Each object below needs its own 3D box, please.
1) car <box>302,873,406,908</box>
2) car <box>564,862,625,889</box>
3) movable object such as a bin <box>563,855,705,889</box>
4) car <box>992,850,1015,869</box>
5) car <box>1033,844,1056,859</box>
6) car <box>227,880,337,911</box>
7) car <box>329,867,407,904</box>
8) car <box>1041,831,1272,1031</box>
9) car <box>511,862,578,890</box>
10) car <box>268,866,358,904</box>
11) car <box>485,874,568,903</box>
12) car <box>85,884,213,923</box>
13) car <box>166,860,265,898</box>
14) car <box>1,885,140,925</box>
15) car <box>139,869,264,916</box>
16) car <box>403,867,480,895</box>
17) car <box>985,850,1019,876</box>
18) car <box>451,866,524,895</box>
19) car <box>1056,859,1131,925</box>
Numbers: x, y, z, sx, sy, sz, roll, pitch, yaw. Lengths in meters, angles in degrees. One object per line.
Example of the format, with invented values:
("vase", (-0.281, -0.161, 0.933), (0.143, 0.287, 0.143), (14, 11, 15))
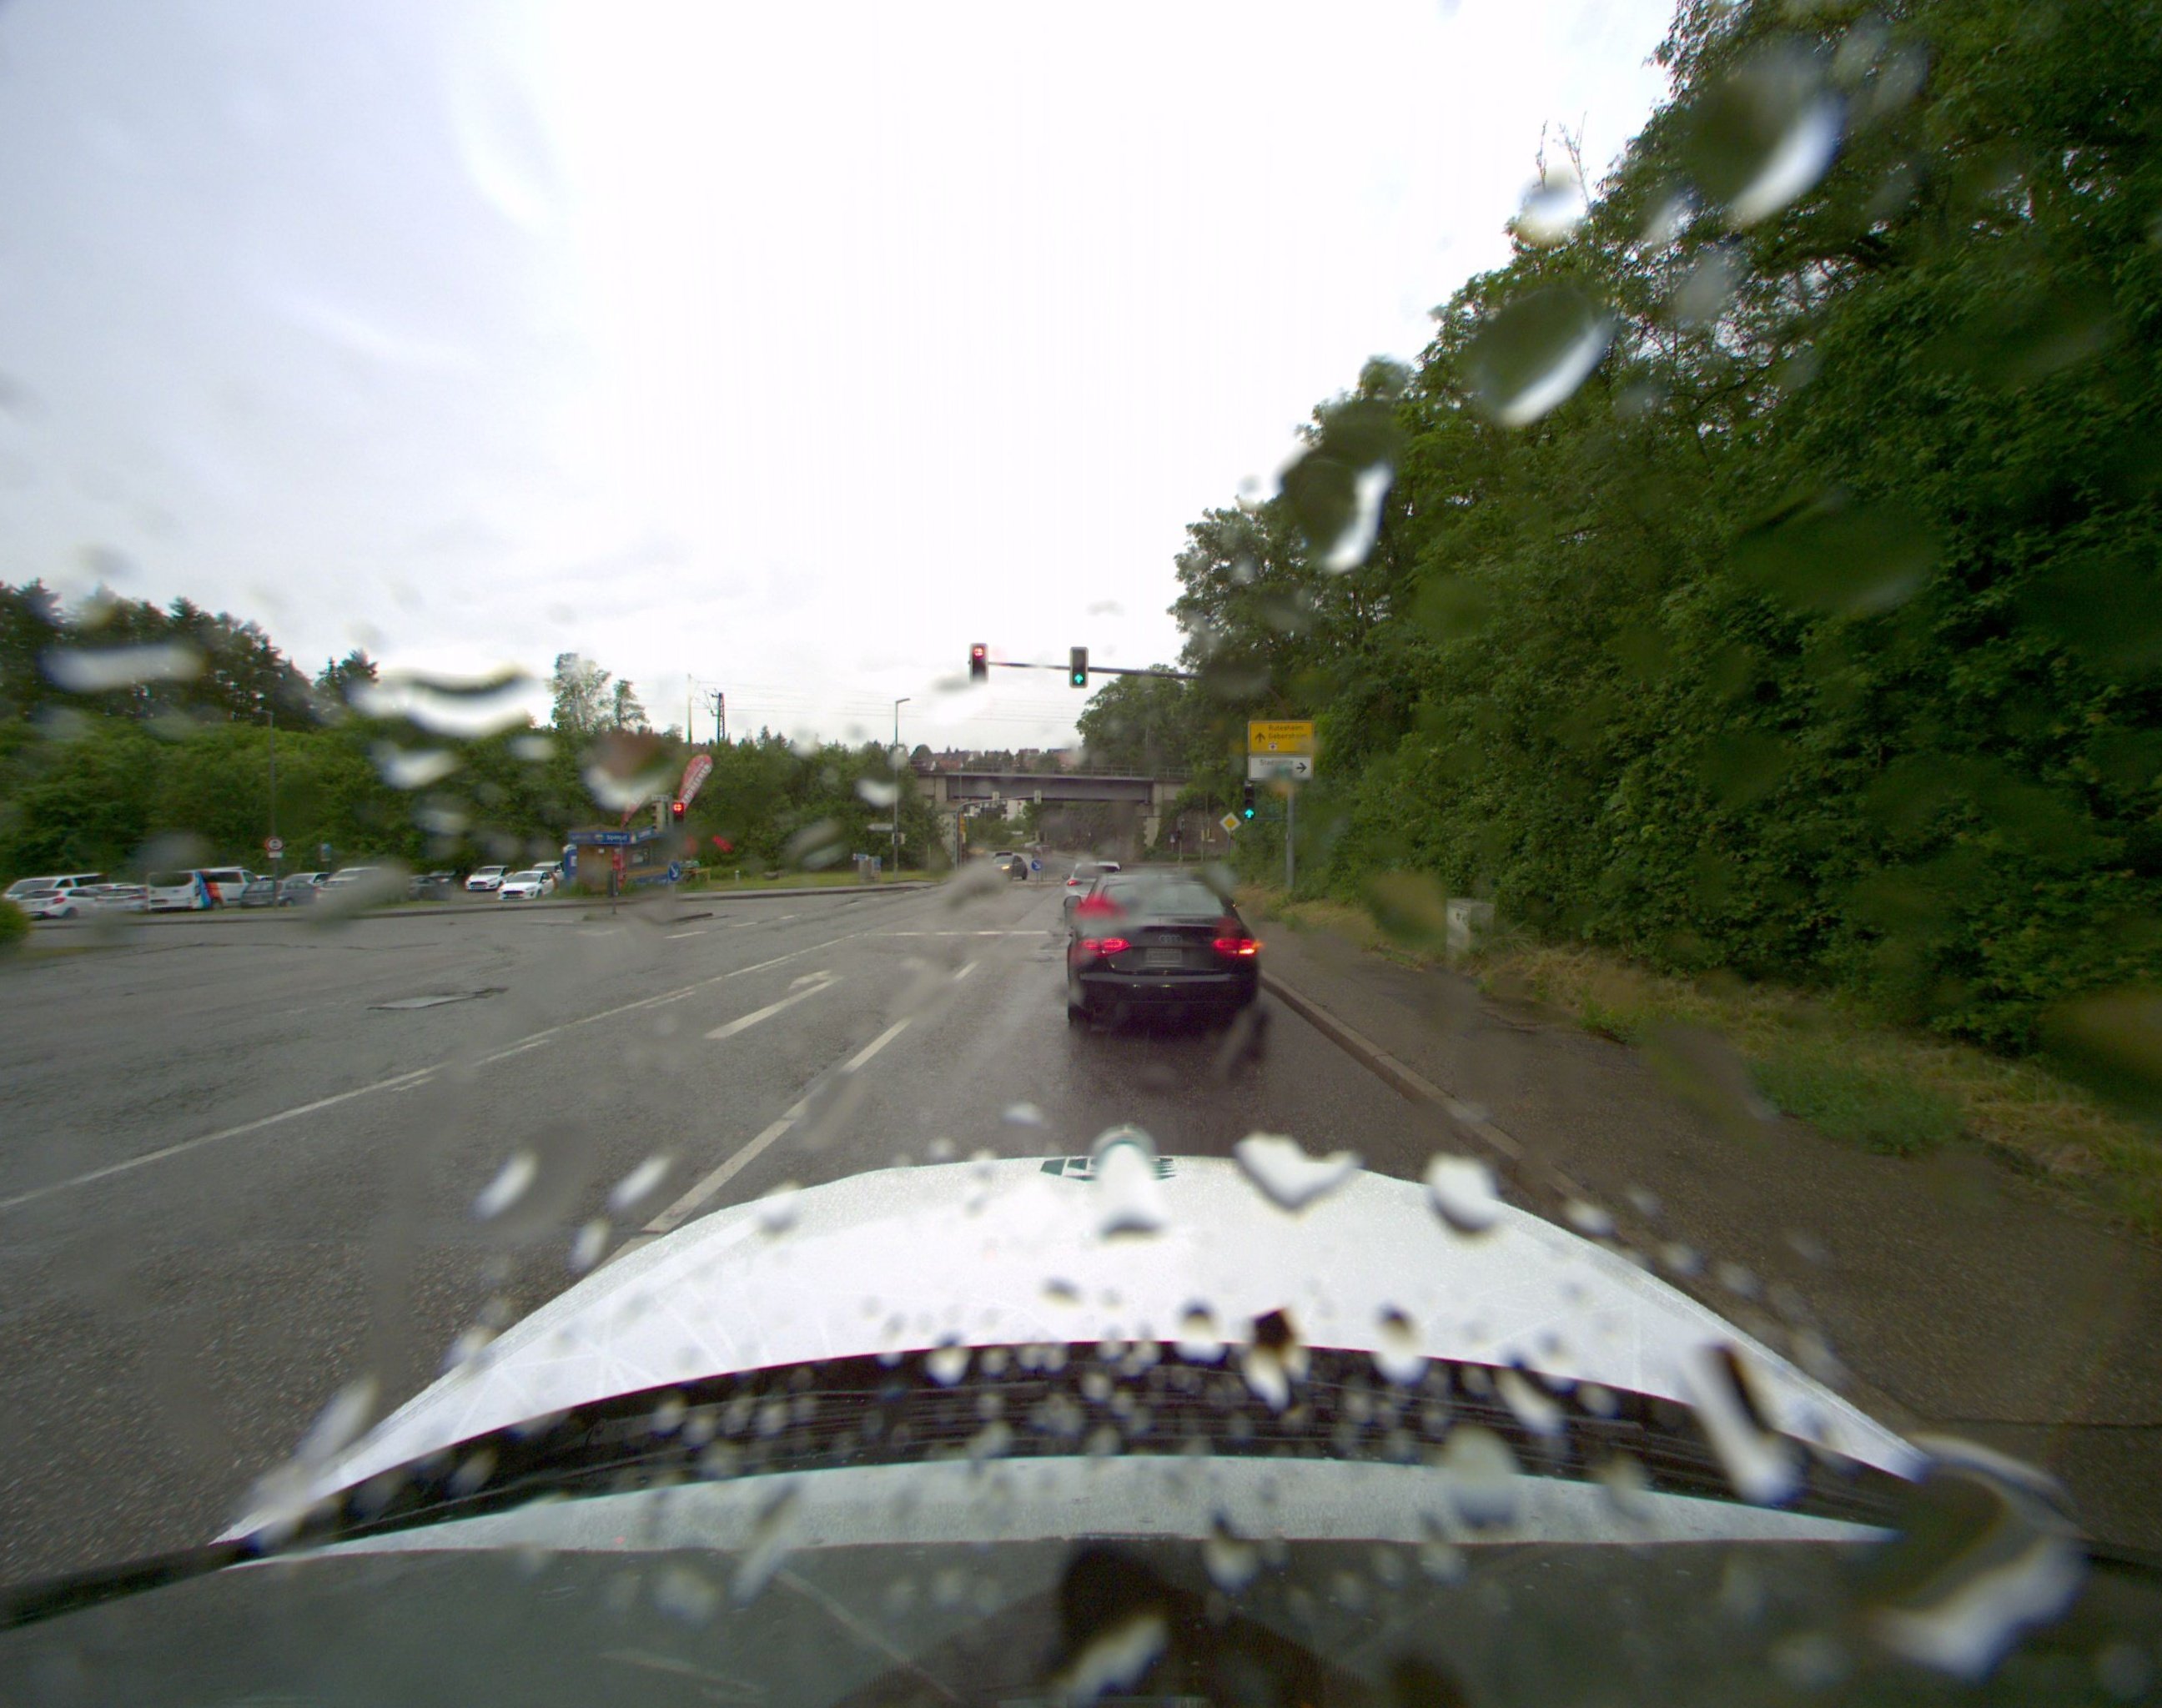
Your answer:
("car", (-34.653, 1.701, 38.979), (1.937, 1.585, 3.892), (0, -1, -11))
("car", (-30.399, 1.309, 51.056), (1.994, 1.585, 3.985), (-2, 0, -11))
("movable object such as a bin", (-22.815, 0.916, 41.773), (2.716, 1.628, 5.816), (-2, -2, 41))
("car", (-7.000, 0.535, 74.182), (1.990, 1.628, 3.993), (-2, 0, -5))
("car", (-4.549, -0.324, 100.153), (1.998, 1.595, 3.979), (-2, 2, -16))
("car", (-37.189, 1.899, 38.053), (1.751, 1.310, 3.984), (0, -1, -11))
("car", (-42.192, 1.833, 48.310), (1.941, 2.014, 3.849), (0, 0, -15))
("car", (0.675, 0.675, 8.676), (1.863, 1.617, 4.001), (-1, -1, 2))
("car", (-32.636, 1.307, 49.654), (1.994, 1.585, 3.985), (-2, 0, -11))
("car", (-44.792, 1.766, 47.633), (1.995, 2.013, 3.983), (-2, 0, -12))
("car", (-27.852, 1.704, 41.127), (1.652, 1.340, 4.883), (0, -1, -11))
("car", (-41.753, 2.170, 36.632), (1.858, 1.585, 3.978), (0, -1, -16))
("car", (-49.328, 1.368, 46.533), (1.997, 2.013, 3.980), (-1, 0, -14))
("car", (-44.388, 2.209, 35.925), (1.837, 1.585, 3.978), (0, -1, -16))
("car", (-39.468, 1.691, 36.712), (1.997, 1.949, 3.978), (0, -1, -16))
("car", (-37.972, 1.599, 48.493), (1.994, 1.585, 3.984), (0, -1, -11))
("car", (-4.867, 0.546, 50.587), (1.634, 1.470, 4.000), (-1, 0, 0))
("car", (-35.447, 1.570, 48.757), (1.994, 1.585, 3.984), (0, -1, -11))
("car", (0.357, 0.985, 21.898), (1.816, 1.585, 4.001), (-1, -1, 2))
